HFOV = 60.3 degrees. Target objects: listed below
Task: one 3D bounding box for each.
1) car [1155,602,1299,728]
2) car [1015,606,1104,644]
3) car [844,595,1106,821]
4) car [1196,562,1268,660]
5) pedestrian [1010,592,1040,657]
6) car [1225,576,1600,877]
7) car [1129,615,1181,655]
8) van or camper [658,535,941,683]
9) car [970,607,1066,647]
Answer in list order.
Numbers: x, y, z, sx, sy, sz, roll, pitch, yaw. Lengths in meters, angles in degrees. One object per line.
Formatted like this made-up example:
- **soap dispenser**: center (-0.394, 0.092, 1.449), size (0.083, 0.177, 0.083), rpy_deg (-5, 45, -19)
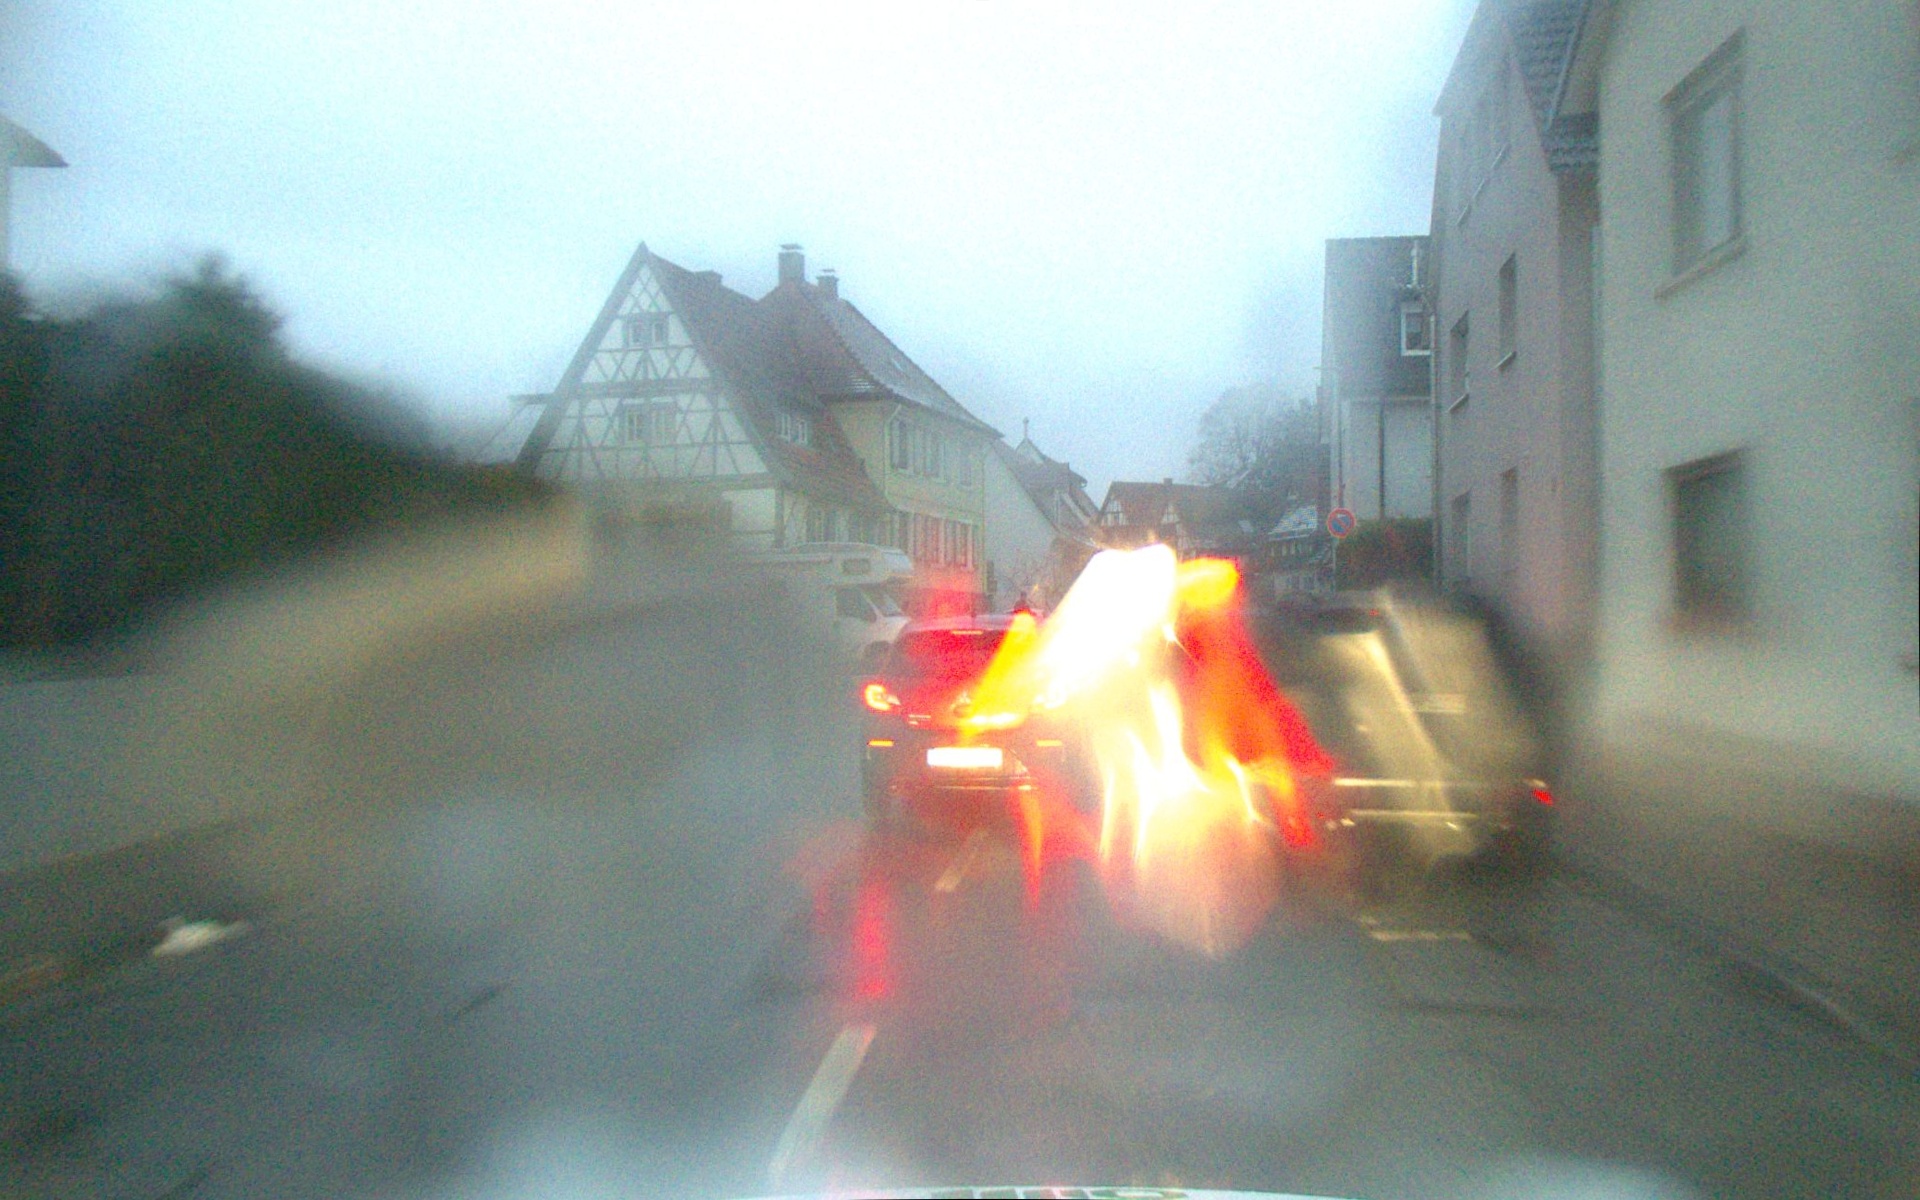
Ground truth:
- **car**: center (3.587, 0.815, 22.514), size (1.760, 1.561, 4.003), rpy_deg (0, 0, 8)
- **car**: center (4.040, 1.005, 66.883), size (3.432, 1.533, 1.693), rpy_deg (0, 0, 9)
- **car**: center (0.177, 0.746, 13.254), size (1.758, 1.502, 4.001), rpy_deg (1, 0, 2)
- **car**: center (7.184, 0.291, 43.768), size (1.775, 2.455, 3.754), rpy_deg (0, 0, 9)
- **pedestrian**: center (2.042, 0.765, 51.829), size (0.855, 2.049, 0.795), rpy_deg (0, -1, 7)
- **car**: center (2.906, 0.728, 11.540), size (1.808, 1.666, 4.338), rpy_deg (1, -1, 6)
- **car**: center (7.385, 1.295, 62.363), size (1.828, 1.426, 4.369), rpy_deg (0, 0, 8)
- **van or camper**: center (-3.663, 0.240, 38.279), size (5.931, 3.007, 2.408), rpy_deg (-3, -1, 13)
- **car**: center (2.276, 1.031, 64.559), size (3.433, 1.533, 1.693), rpy_deg (0, 0, 15)
